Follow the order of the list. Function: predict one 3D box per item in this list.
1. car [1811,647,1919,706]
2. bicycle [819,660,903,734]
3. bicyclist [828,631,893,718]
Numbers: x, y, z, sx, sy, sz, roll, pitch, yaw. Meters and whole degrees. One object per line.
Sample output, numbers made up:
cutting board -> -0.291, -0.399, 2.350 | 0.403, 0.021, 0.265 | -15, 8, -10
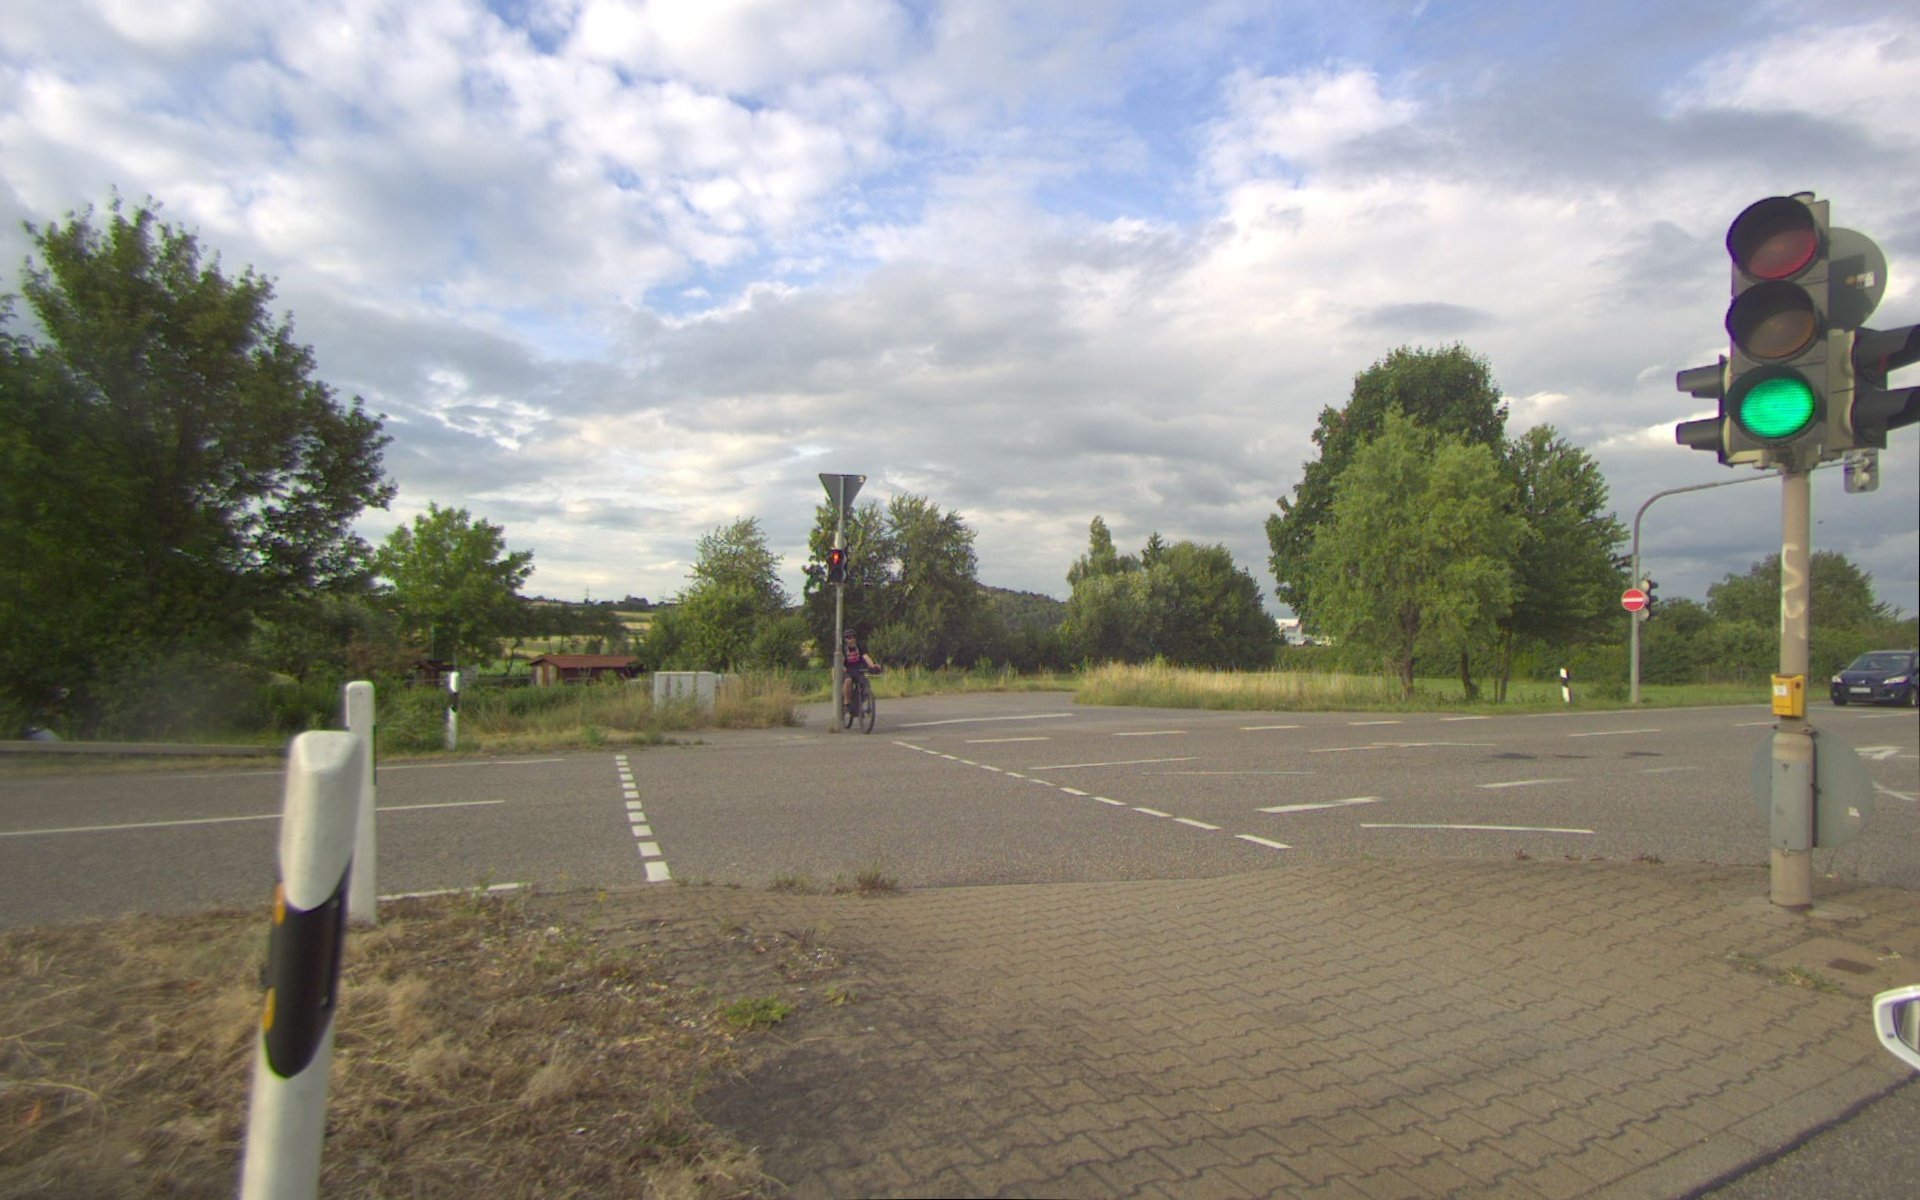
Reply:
car -> 26.864, 2.179, 29.058 | 4.880, 1.556, 1.899 | 2, -2, -30
bicycle -> -1.790, 1.678, 17.811 | 0.804, 1.152, 2.314 | 2, -2, -23
bicyclist -> -1.787, 1.298, 17.856 | 0.804, 1.470, 1.219 | 2, -2, -24
